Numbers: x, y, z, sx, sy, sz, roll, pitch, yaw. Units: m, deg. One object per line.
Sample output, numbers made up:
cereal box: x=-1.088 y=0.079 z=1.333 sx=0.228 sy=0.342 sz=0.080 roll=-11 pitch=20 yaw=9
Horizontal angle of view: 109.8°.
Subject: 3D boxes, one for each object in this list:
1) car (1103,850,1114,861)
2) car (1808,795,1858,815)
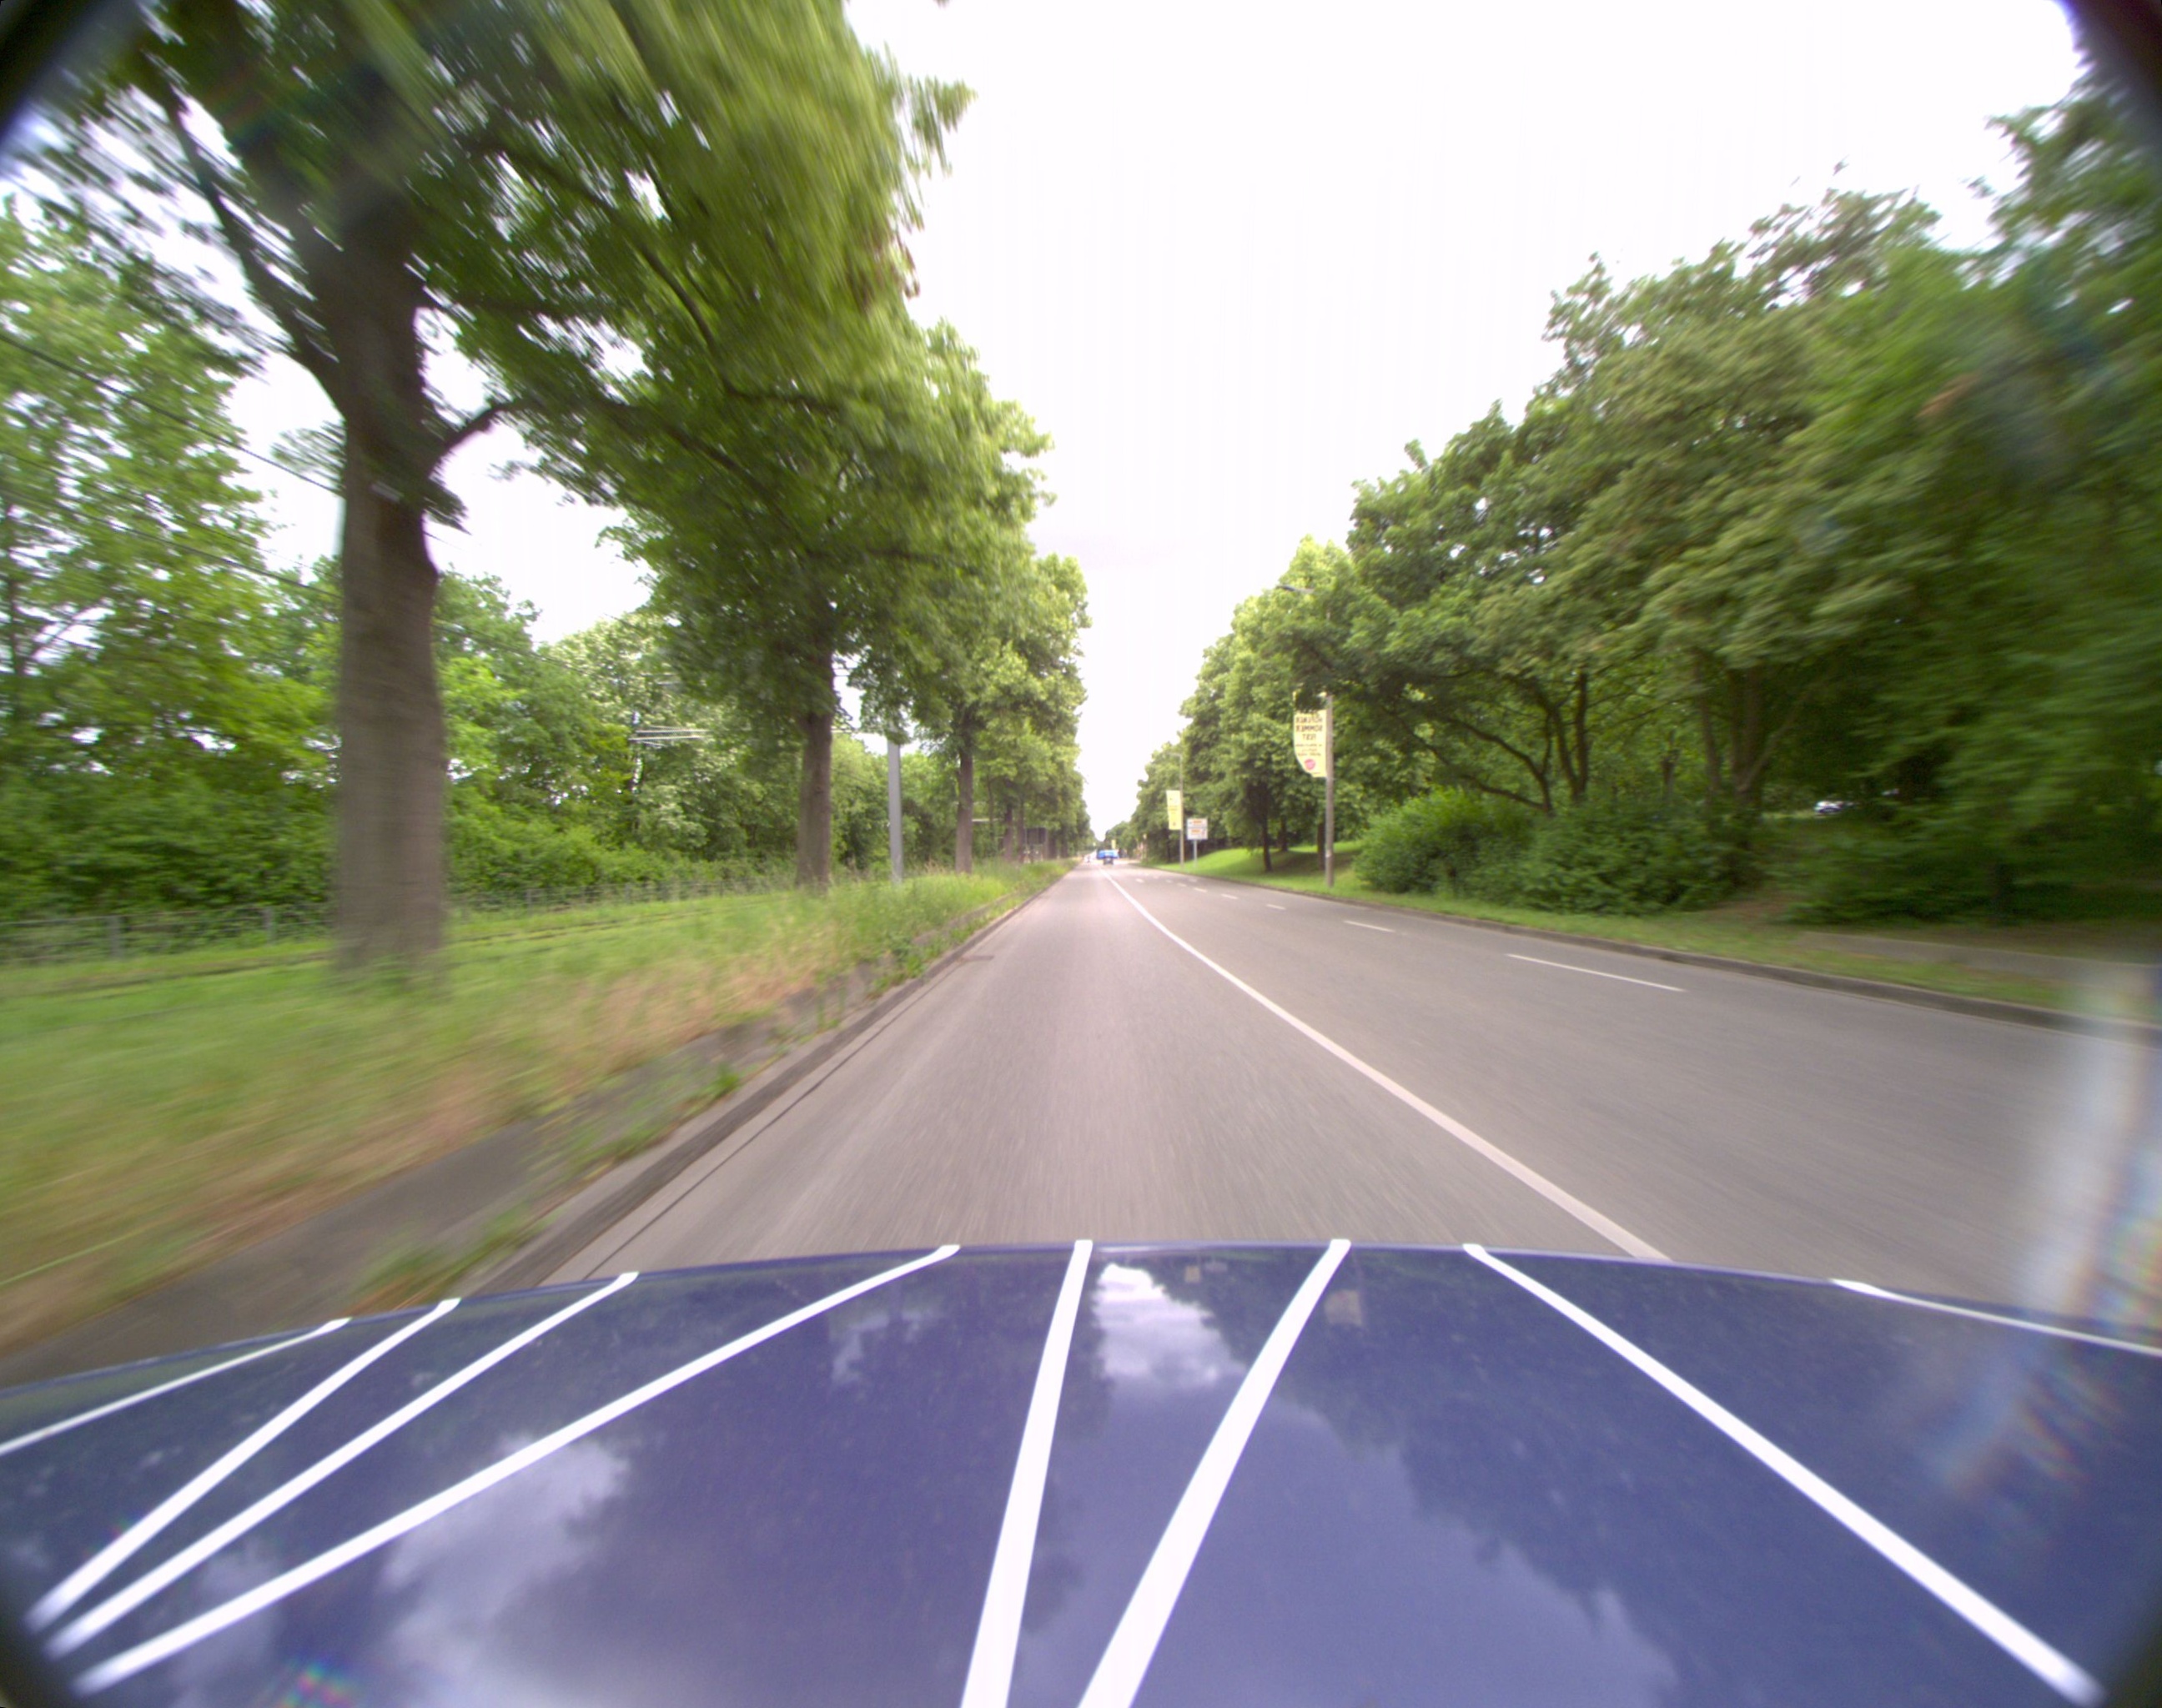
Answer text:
car: x=5.162 y=0.337 z=141.771 sx=1.998 sy=1.944 sz=5.183 roll=-1 pitch=0 yaw=1
car: x=51.323 y=-3.342 z=51.865 sx=3.513 sy=1.226 sz=1.397 roll=-3 pitch=0 yaw=-27
